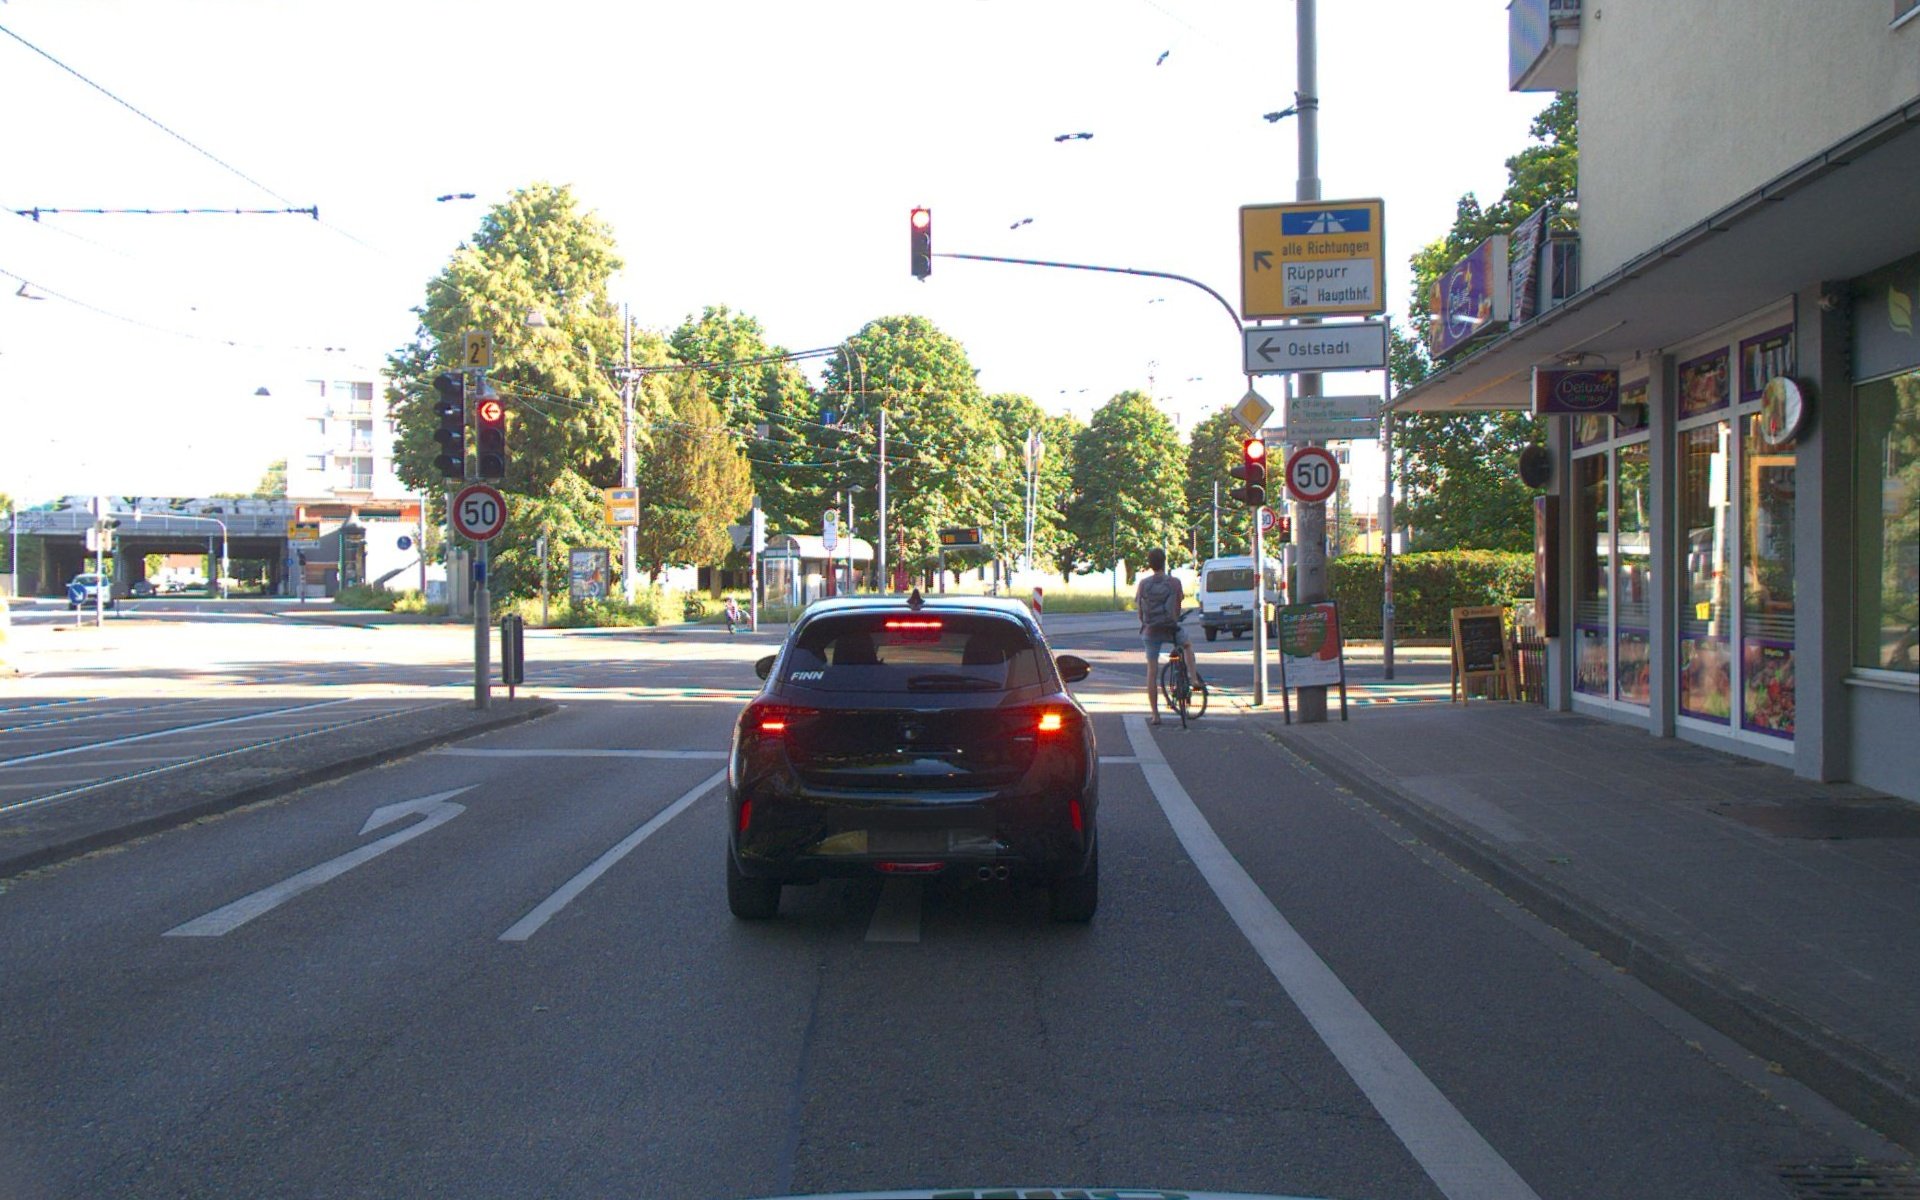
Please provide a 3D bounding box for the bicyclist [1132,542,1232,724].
[{"bbox_3d":[2.356,0.343,17.650,0.922,1.883,0.864,-1,0,-1],"label":"bicyclist"}]

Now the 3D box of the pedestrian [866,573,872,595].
[{"bbox_3d":[-6.249,-1.100,113.762,0.404,1.437,0.436,2,0,-1],"label":"pedestrian"}]

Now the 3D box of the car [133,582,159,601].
[{"bbox_3d":[-70.178,-0.748,142.657,1.969,1.630,4.211,-1,1,-26],"label":"car"}]

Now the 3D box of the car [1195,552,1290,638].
[{"bbox_3d":[8.012,-0.154,46.578,2.020,2.288,4.890,0,1,17],"label":"car"}]

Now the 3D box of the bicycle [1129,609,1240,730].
[{"bbox_3d":[2.370,0.703,17.708,0.842,1.173,2.171,-1,1,-1],"label":"bicycle"}]

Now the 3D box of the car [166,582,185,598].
[{"bbox_3d":[-98.875,-1.238,208.385,1.971,1.981,4.458,-1,1,-28],"label":"car"}]

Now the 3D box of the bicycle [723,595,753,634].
[{"bbox_3d":[-6.218,0.383,46.373,0.593,1.049,1.982,0,1,-1],"label":"bicycle"}]

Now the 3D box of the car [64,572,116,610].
[{"bbox_3d":[-43.296,-0.464,82.236,2.189,1.855,4.106,-1,1,-29],"label":"car"}]

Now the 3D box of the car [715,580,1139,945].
[{"bbox_3d":[-0.152,0.642,8.744,1.692,1.454,4.186,1,0,-1],"label":"car"}]
